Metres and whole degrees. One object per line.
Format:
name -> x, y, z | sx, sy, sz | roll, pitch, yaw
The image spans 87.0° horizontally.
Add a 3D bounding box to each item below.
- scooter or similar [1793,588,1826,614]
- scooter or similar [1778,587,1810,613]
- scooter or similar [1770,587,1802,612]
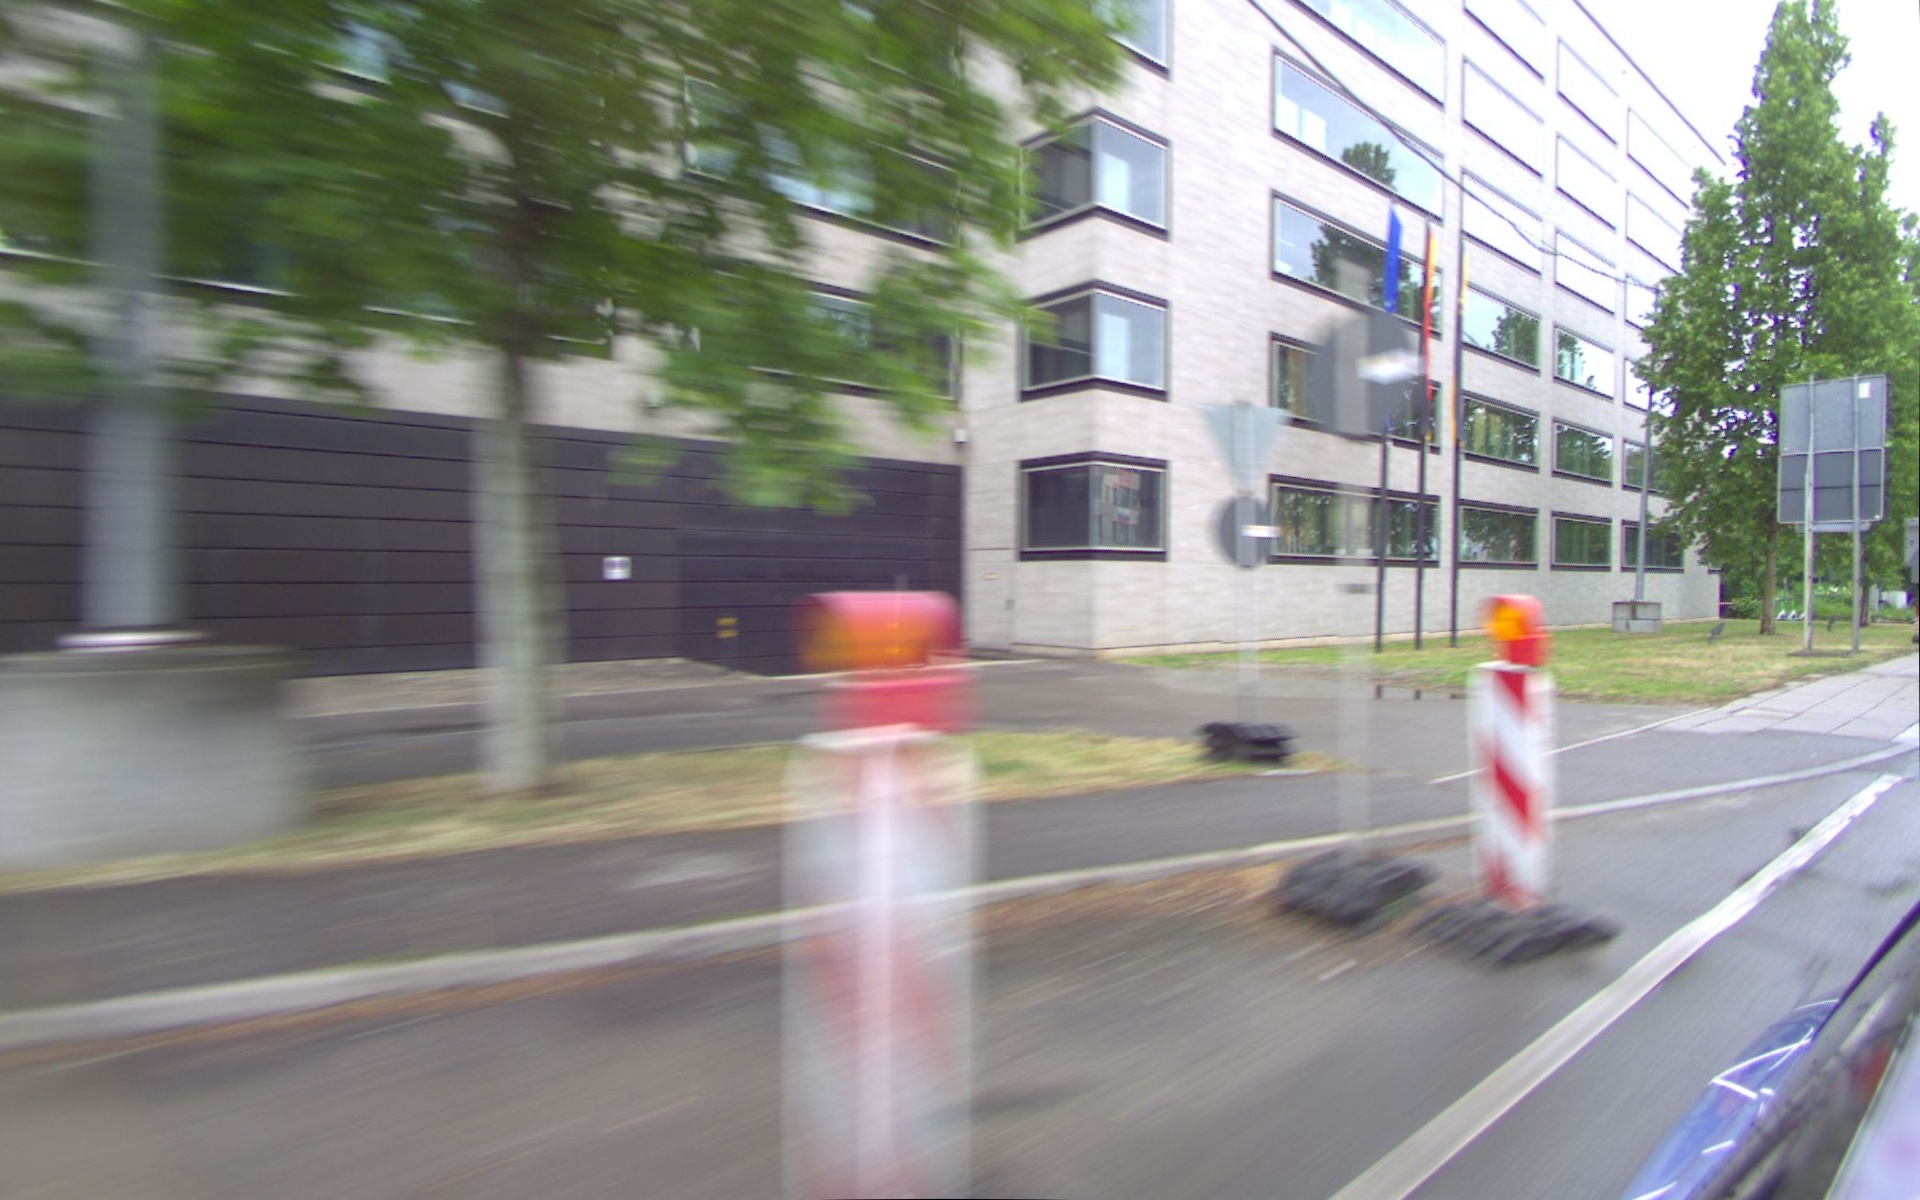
scooter or similar -> 43.935, 0.036, 52.356 | 0.545, 1.329, 1.238 | -1, 1, -43
scooter or similar -> 43.868, 0.012, 53.214 | 0.464, 1.329, 1.238 | -1, 1, -43
scooter or similar -> 43.965, -0.036, 53.885 | 0.464, 1.329, 1.238 | -1, 1, -43
